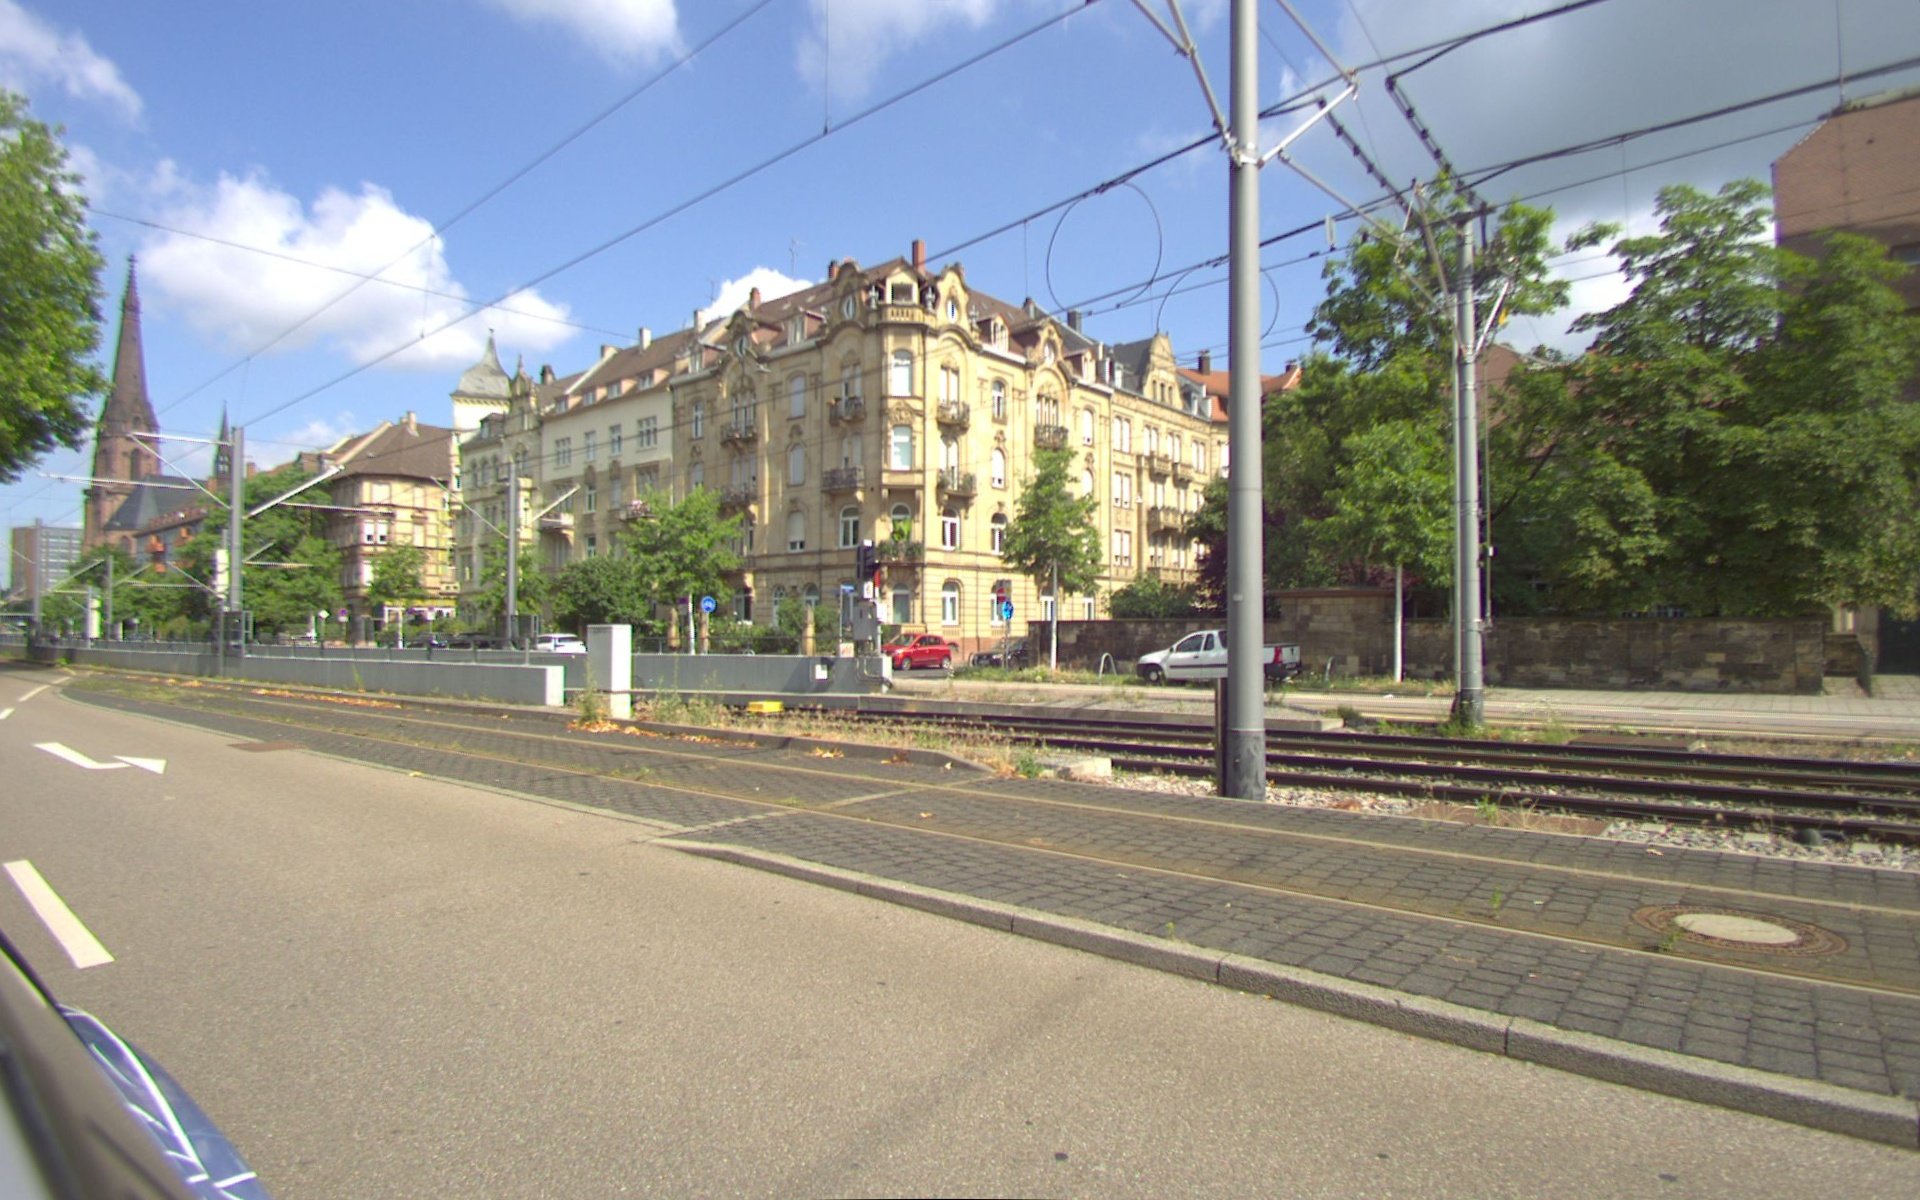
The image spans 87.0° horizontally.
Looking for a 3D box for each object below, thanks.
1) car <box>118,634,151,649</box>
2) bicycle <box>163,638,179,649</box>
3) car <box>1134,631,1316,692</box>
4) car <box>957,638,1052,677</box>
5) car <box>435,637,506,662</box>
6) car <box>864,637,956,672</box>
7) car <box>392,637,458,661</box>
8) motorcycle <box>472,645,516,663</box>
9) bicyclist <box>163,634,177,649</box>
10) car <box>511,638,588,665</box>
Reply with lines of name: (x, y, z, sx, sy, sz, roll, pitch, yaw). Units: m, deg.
car: (-89.125, 4.485, 109.278, 4.111, 1.650, 1.973, -2, -3, 40)
bicycle: (-73.136, 4.035, 93.785, 2.139, 0.986, 0.768, -2, -5, 41)
car: (7.141, 1.620, 27.524, 4.409, 1.516, 1.912, -2, -3, 39)
car: (1.788, 2.238, 40.043, 1.722, 1.475, 3.921, -2, -3, 40)
car: (-27.638, 2.793, 57.088, 4.095, 1.337, 2.000, -2, -3, 38)
car: (-2.149, 2.339, 44.254, 1.933, 1.475, 3.738, -2, -3, 43)
car: (-32.070, 2.919, 60.611, 4.723, 1.337, 1.928, -2, -3, 41)
motorcycle: (-25.397, 2.929, 55.170, 1.416, 0.949, 1.743, -2, -4, 39)
bicyclist: (-73.347, 3.870, 93.971, 1.048, 1.348, 0.759, -2, -5, 41)
car: (-20.831, 2.596, 51.306, 4.307, 1.338, 1.734, -2, -3, 39)
